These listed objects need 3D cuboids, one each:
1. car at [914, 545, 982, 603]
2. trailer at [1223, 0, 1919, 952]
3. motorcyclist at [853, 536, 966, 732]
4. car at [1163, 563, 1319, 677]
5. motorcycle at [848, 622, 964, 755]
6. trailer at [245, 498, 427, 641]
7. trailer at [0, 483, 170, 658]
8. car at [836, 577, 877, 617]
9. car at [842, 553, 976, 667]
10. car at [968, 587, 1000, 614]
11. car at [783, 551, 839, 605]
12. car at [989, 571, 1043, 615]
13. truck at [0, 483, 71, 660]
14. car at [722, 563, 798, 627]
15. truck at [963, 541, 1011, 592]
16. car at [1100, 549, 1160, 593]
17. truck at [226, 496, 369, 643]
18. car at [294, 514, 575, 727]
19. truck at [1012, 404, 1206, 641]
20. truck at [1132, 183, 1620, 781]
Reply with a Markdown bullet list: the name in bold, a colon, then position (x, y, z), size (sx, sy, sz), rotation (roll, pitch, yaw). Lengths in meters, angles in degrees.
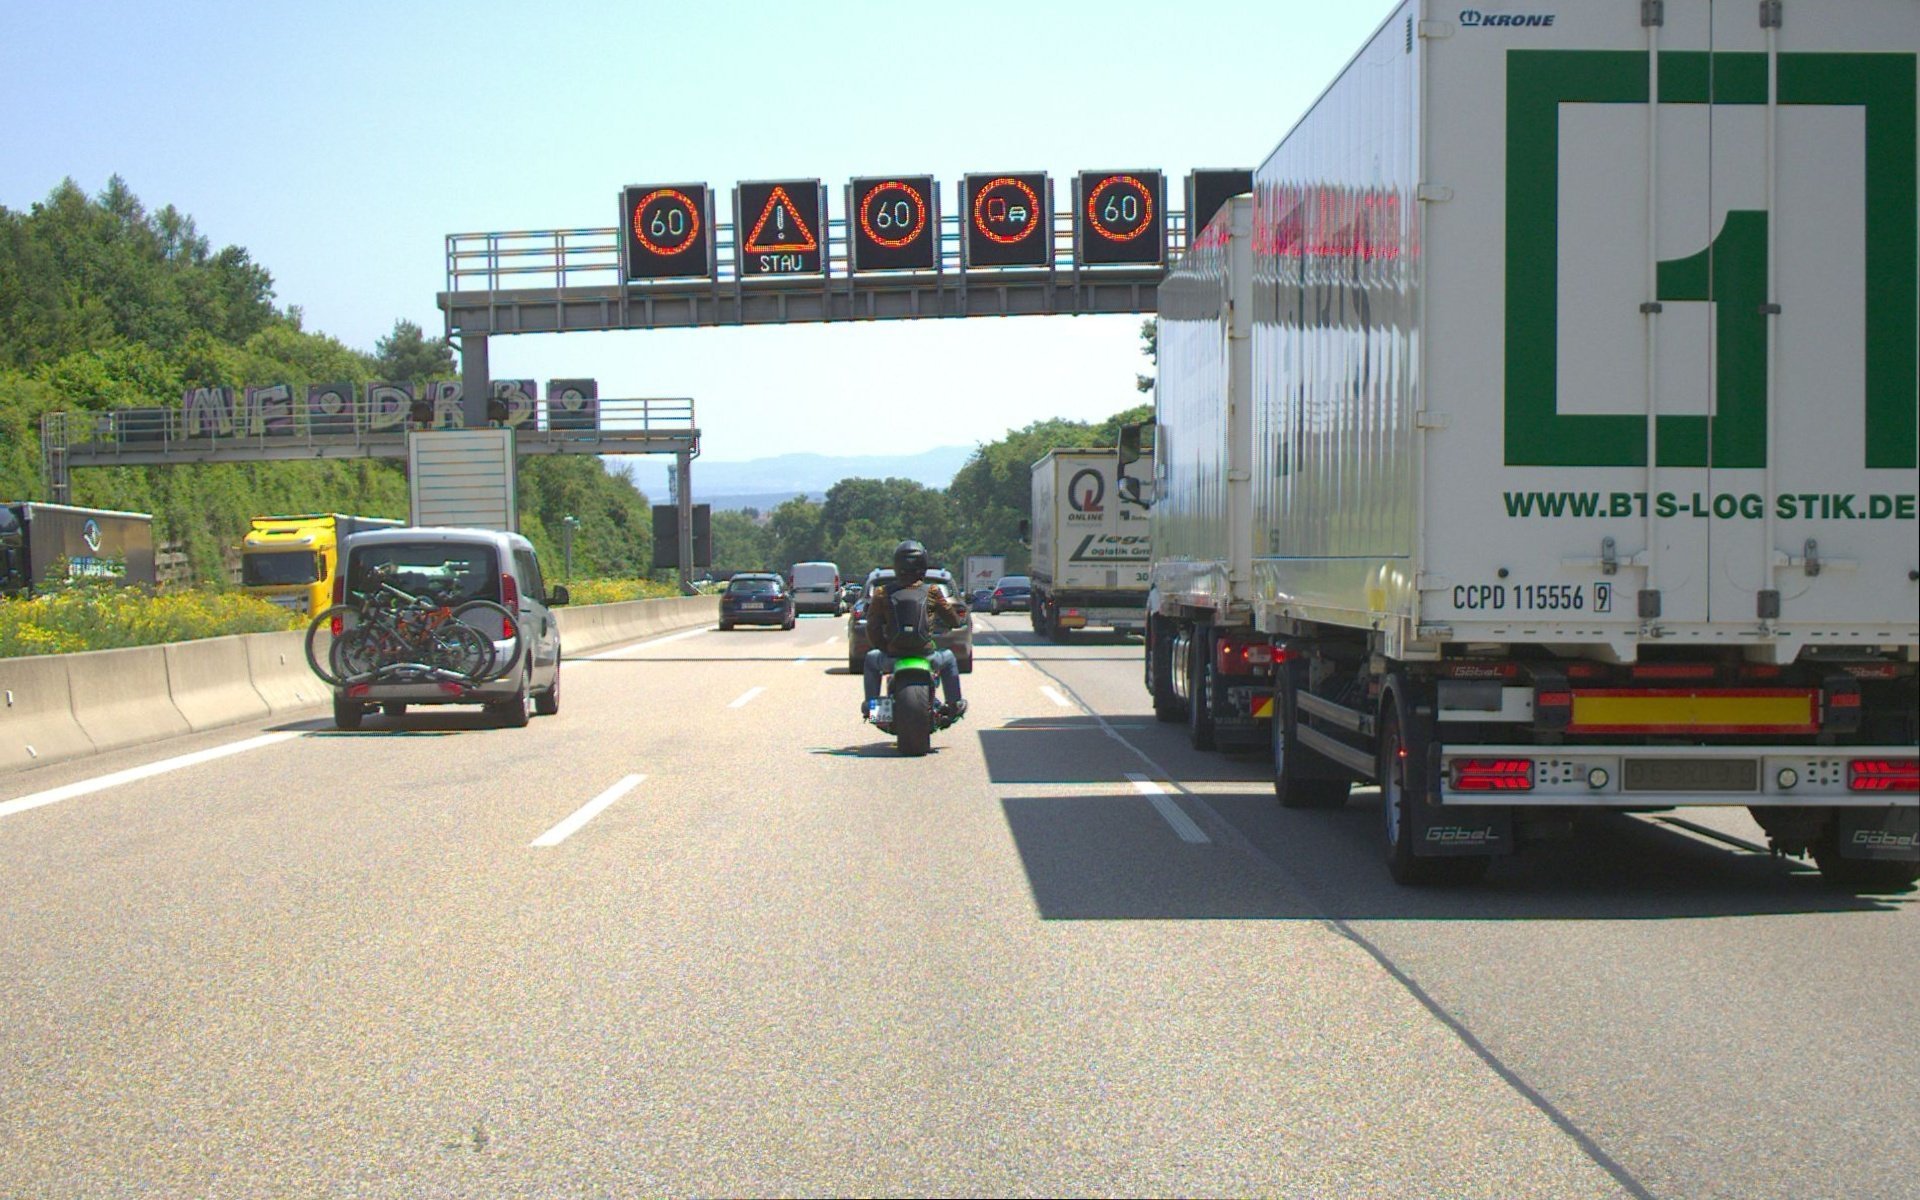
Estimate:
- **car**: position (-0.354, -0.743, 95.550), size (1.831, 1.553, 4.120), rotation (0, 1, -1)
- **trailer**: position (3.192, -0.784, 18.250), size (2.680, 4.161, 10.066), rotation (0, 1, -1)
- **motorcyclist**: position (-0.391, 0.262, 27.004), size (0.856, 1.510, 0.914), rotation (0, 0, 0)
- **car**: position (4.049, 0.252, 50.110), size (1.845, 1.552, 4.392), rotation (0, 1, -1)
- **motorcycle**: position (-0.405, 0.675, 27.034), size (0.862, 0.978, 2.130), rotation (0, 0, 0)
- **trailer**: position (-20.034, -1.008, 111.377), size (2.978, 4.193, 14.465), rotation (-3, 1, 0)
- **trailer**: position (-23.447, -0.720, 88.363), size (2.978, 4.087, 13.995), rotation (-3, 1, -1)
- **car**: position (-4.791, -0.136, 160.052), size (1.831, 1.804, 4.120), rotation (0, 1, -1)
- **car**: position (-0.736, 0.106, 49.790), size (1.845, 1.552, 4.439), rotation (0, 1, -1)
- **car**: position (1.438, 0.026, 207.723), size (1.831, 1.521, 4.027), rotation (0, 1, -1)
- **car**: position (-5.173, -0.781, 119.573), size (1.831, 1.804, 4.120), rotation (0, 1, -1)
- **car**: position (2.013, -0.270, 124.932), size (1.831, 1.521, 4.027), rotation (0, 1, -1)
- **truck**: position (-23.386, -0.609, 81.529), size (2.934, 4.045, 5.868), rotation (-3, 1, -1)
- **car**: position (-5.062, -0.149, 87.475), size (1.758, 1.538, 4.395), rotation (0, 1, -1)
- **truck**: position (1.796, -2.297, 233.708), size (3.067, 3.335, 9.652), rotation (1, 1, -1)
- **car**: position (5.886, -1.019, 119.581), size (1.831, 1.521, 4.027), rotation (0, 1, -1)
- **truck**: position (-20.038, -0.931, 104.351), size (2.951, 4.188, 6.458), rotation (-3, 1, -1)
- **car**: position (-4.860, 0.168, 32.516), size (1.898, 1.841, 5.483), rotation (0, 0, -1)
- **truck**: position (3.130, -1.650, 78.034), size (3.383, 4.702, 17.709), rotation (1, 1, -1)
- **truck**: position (3.085, -0.856, 28.616), size (2.680, 4.046, 10.626), rotation (0, 1, -1)
